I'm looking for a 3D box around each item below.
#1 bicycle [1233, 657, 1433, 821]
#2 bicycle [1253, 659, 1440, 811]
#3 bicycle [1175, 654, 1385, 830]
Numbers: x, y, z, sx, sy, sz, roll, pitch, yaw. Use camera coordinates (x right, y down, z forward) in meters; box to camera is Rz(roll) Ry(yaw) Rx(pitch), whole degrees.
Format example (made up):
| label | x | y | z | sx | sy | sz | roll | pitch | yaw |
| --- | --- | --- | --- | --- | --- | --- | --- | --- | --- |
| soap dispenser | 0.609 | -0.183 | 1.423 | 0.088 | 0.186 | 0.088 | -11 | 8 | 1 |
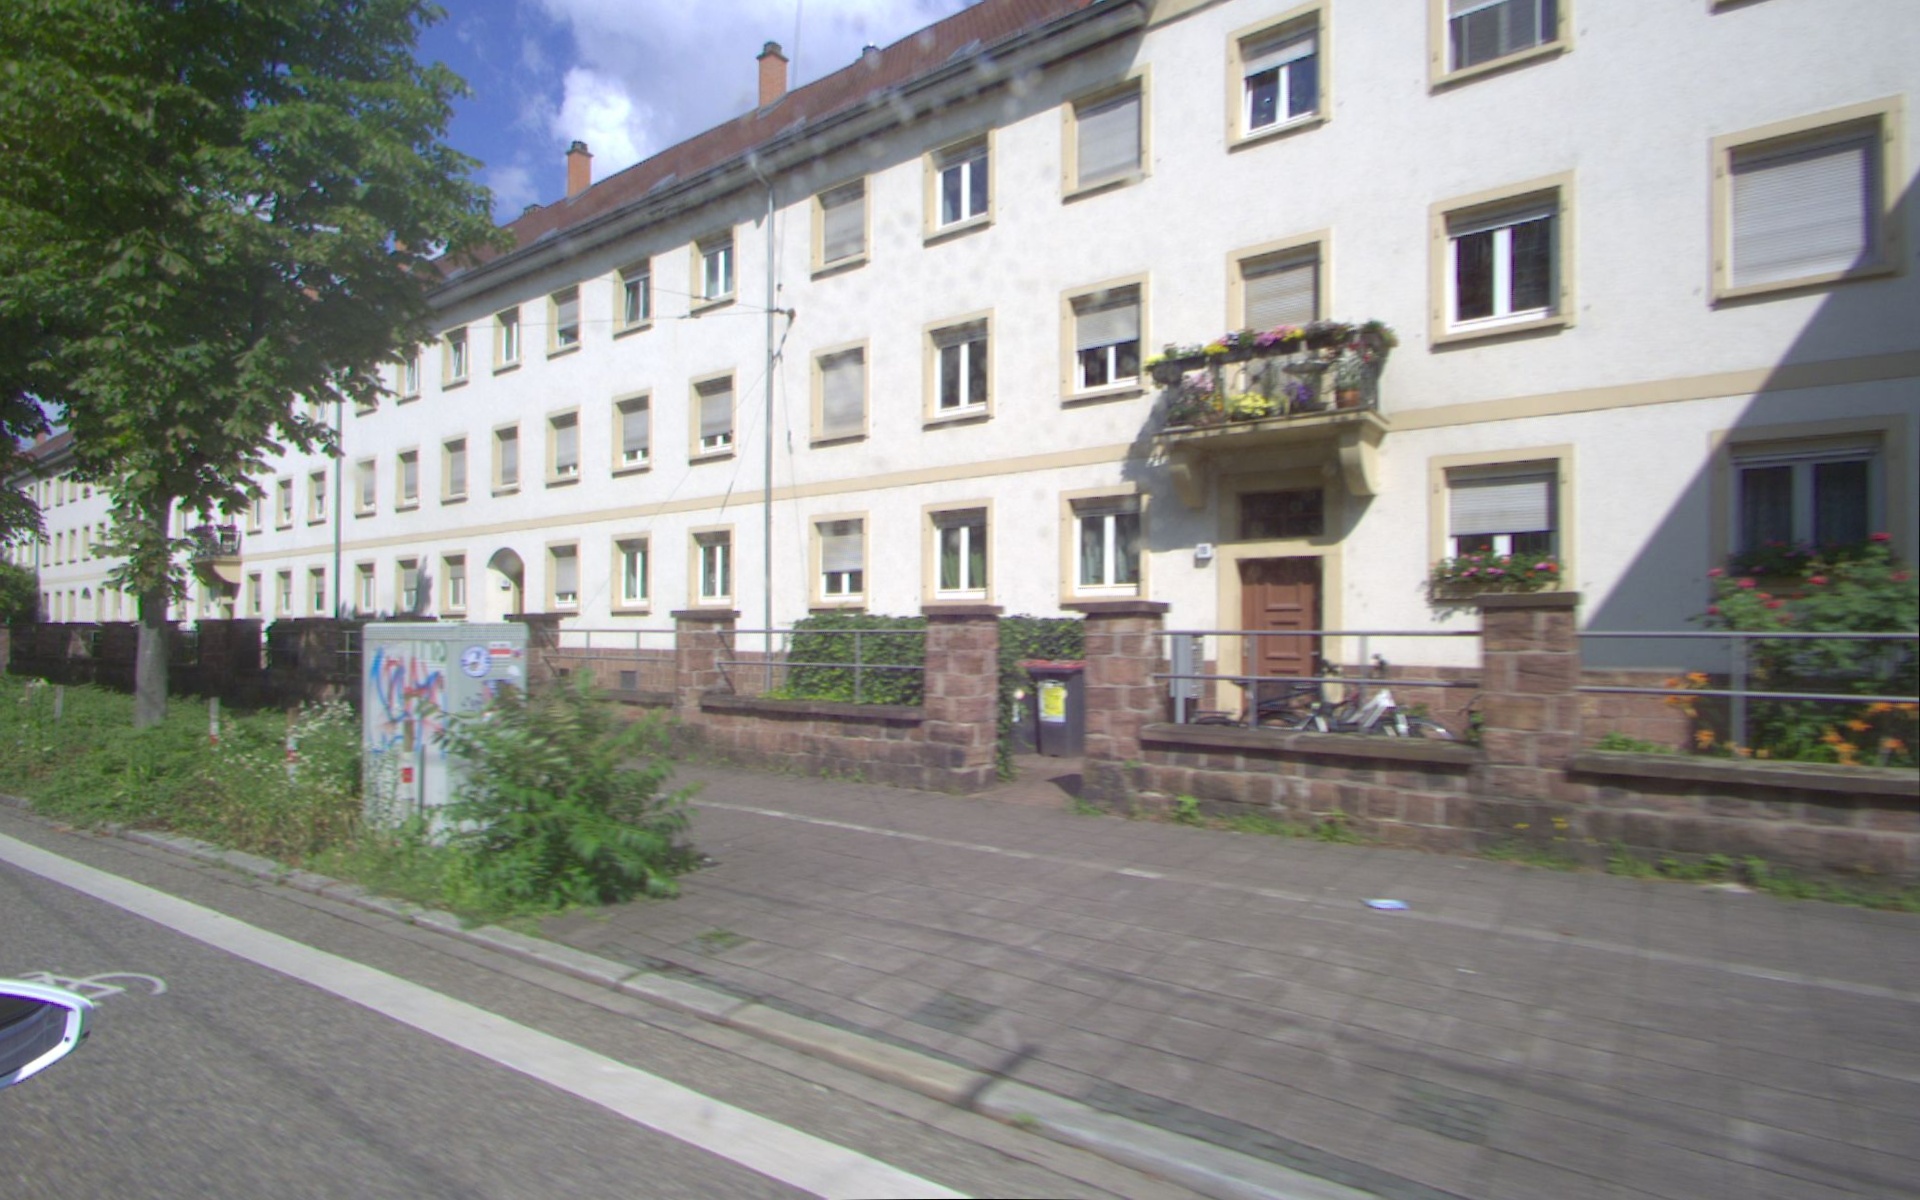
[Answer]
| label | x | y | z | sx | sy | sz | roll | pitch | yaw |
| --- | --- | --- | --- | --- | --- | --- | --- | --- | --- |
| bicycle | 3.071 | 1.098 | 8.291 | 1.470 | 1.216 | 0.503 | 0 | -2 | 34 |
| bicycle | 3.414 | 1.150 | 8.896 | 1.470 | 1.216 | 0.503 | 0 | -2 | 34 |
| bicycle | 2.463 | 1.046 | 7.782 | 1.471 | 1.216 | 0.503 | 0 | -2 | 36 |
